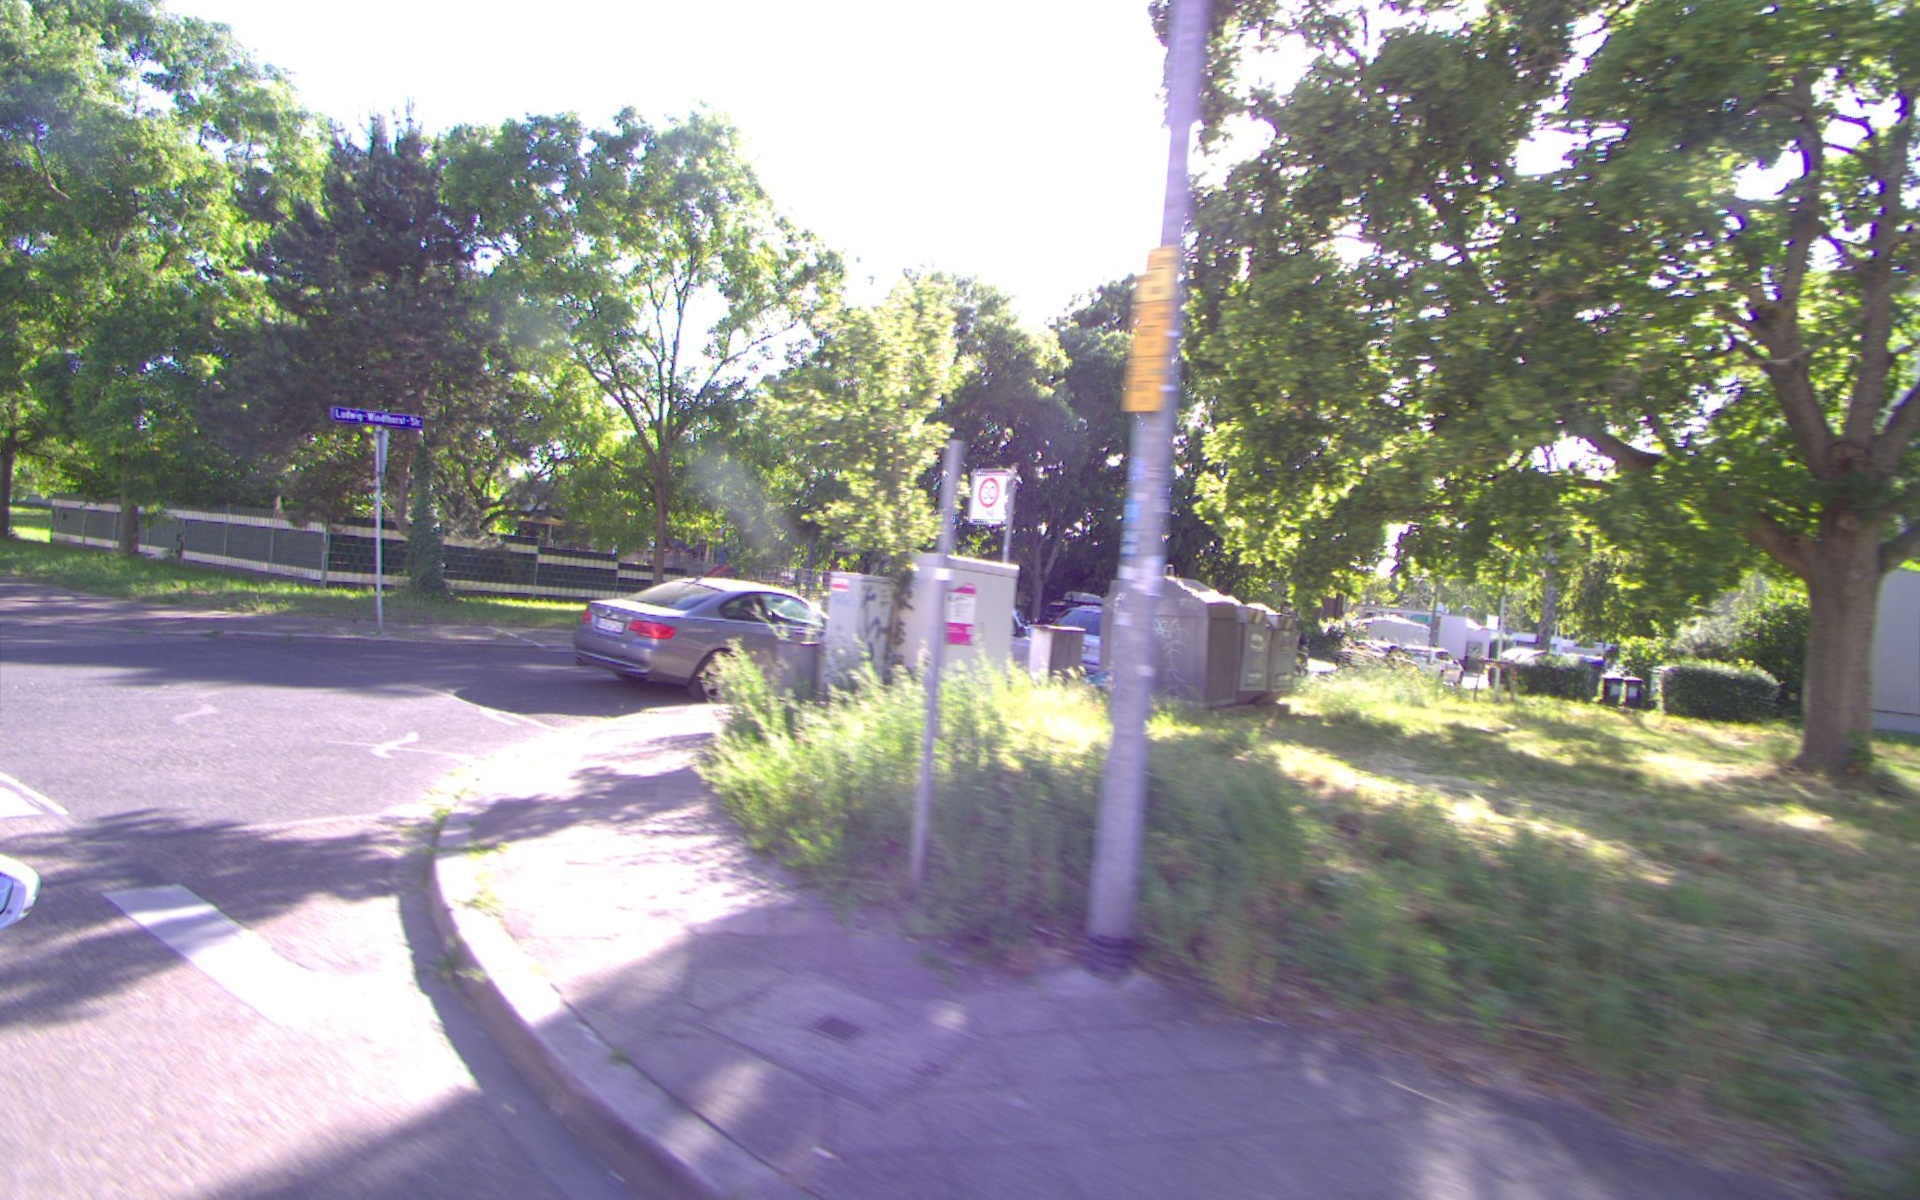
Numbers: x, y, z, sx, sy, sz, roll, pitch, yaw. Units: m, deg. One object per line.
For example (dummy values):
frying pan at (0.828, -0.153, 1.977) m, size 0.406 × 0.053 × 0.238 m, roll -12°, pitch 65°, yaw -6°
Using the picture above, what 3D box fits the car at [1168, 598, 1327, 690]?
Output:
car at (7.621, 1.177, 26.400) m, size 2.241 × 2.038 × 4.497 m, roll 7°, pitch 1°, yaw 40°

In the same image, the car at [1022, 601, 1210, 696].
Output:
car at (3.279, 1.016, 20.585) m, size 1.943 × 1.561 × 4.099 m, roll 8°, pitch 1°, yaw 37°

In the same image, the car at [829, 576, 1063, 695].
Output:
car at (-0.130, 0.605, 16.496) m, size 1.802 × 1.598 × 3.679 m, roll 7°, pitch 1°, yaw 39°

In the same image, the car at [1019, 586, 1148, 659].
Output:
car at (3.847, 0.720, 30.972) m, size 1.972 × 1.875 × 3.858 m, roll 7°, pitch 1°, yaw 42°

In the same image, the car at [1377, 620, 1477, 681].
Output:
car at (18.484, 2.017, 39.714) m, size 2.137 × 2.038 × 4.492 m, roll 7°, pitch 1°, yaw 43°

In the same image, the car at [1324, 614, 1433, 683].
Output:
car at (14.656, 1.721, 35.092) m, size 2.135 × 2.038 × 4.497 m, roll 7°, pitch 1°, yaw 40°

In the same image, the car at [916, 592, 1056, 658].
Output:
car at (0.764, 0.702, 26.684) m, size 1.759 × 1.415 × 3.865 m, roll 8°, pitch 2°, yaw 35°

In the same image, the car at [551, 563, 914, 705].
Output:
car at (-2.697, 0.493, 12.924) m, size 1.719 × 1.354 × 4.424 m, roll 8°, pitch 1°, yaw 36°

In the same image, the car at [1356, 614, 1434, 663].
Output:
car at (23.378, 2.103, 53.957) m, size 2.236 × 2.291 × 5.049 m, roll 6°, pitch 1°, yaw 41°

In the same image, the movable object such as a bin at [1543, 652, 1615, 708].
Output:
movable object such as a bin at (19.320, 2.470, 31.456) m, size 1.508 × 1.528 × 1.391 m, roll 6°, pitch 1°, yaw 19°
